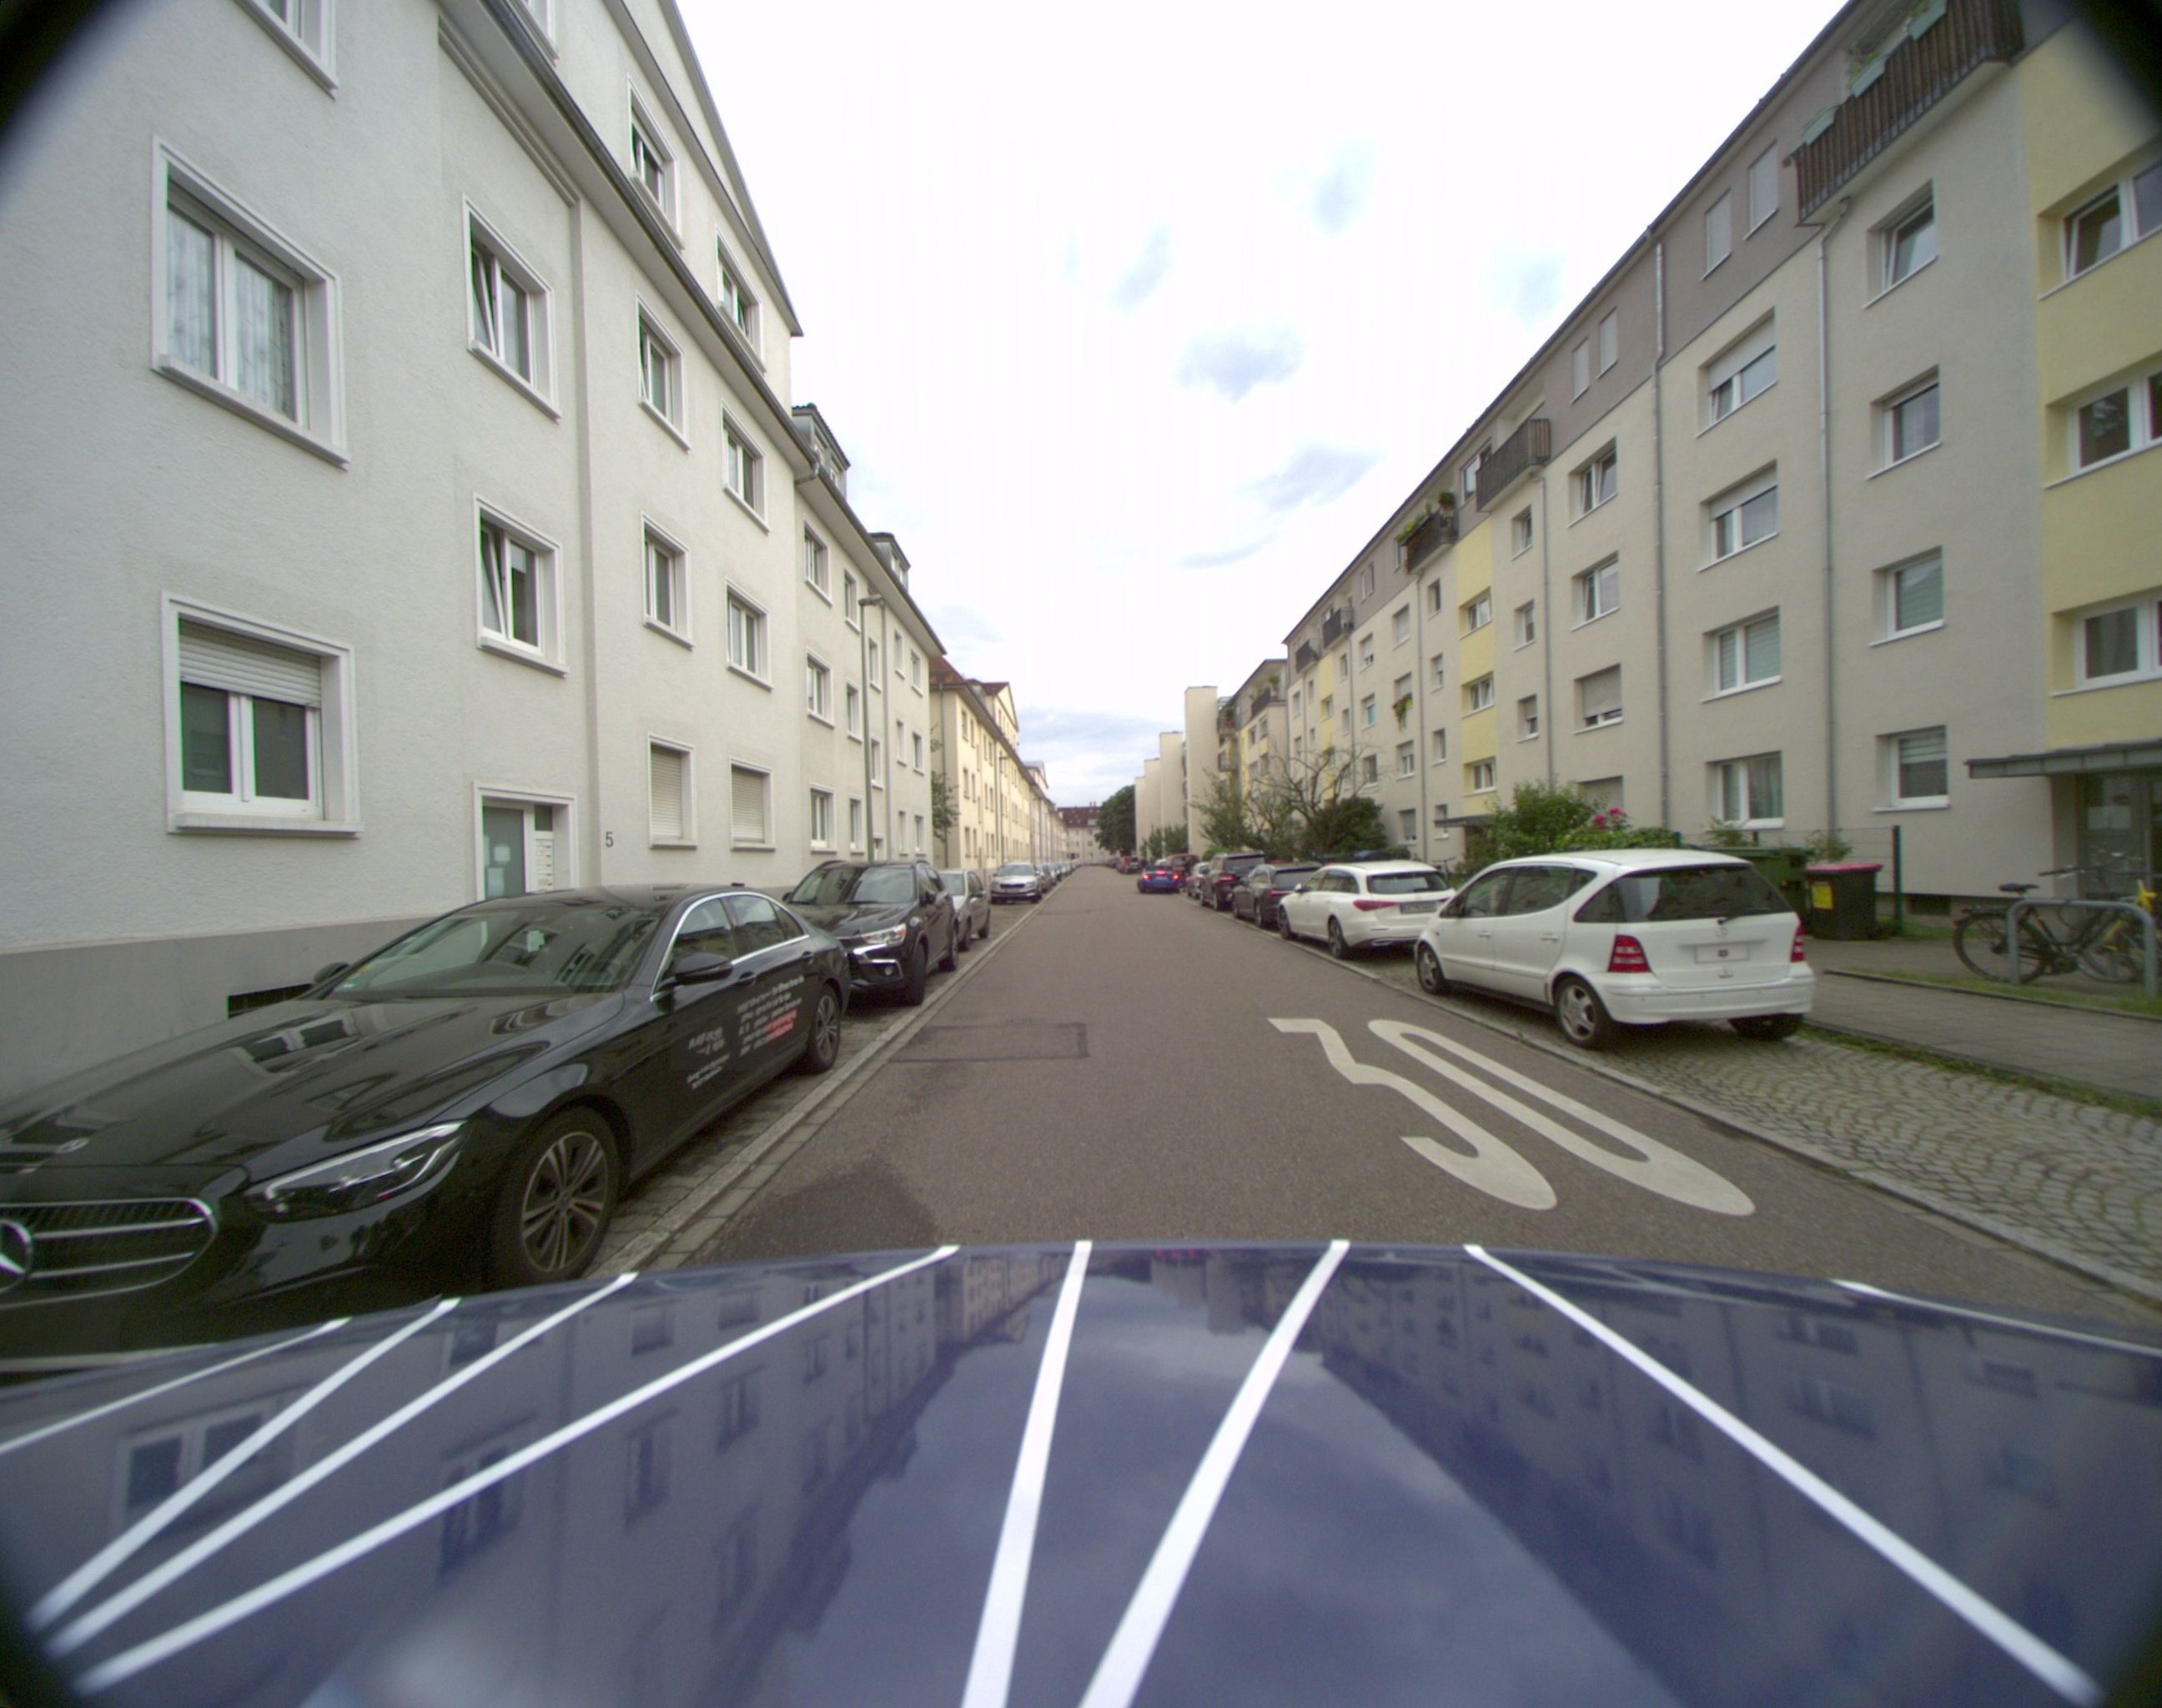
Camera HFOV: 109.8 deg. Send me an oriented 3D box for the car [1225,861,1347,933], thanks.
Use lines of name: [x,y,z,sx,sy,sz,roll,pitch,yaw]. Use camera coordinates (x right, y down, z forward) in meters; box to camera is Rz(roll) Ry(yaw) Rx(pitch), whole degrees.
car: [4.747,0.924,18.242,1.729,1.445,4.483,-1,0,1]

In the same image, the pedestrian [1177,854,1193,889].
pedestrian: [5.020,0.823,36.734,0.603,1.657,0.622,-2,0,-2]

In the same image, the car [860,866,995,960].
car: [-2.749,1.007,14.443,1.737,1.478,3.757,-1,0,1]

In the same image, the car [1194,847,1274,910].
car: [4.753,0.744,24.155,1.575,1.769,4.452,-2,-1,0]

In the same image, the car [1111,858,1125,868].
car: [6.133,1.472,127.150,1.745,1.534,3.637,-2,0,-5]

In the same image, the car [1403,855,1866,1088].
car: [4.771,0.856,7.321,1.689,1.629,3.727,-2,0,-1]

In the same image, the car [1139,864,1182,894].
car: [3.745,1.152,36.304,1.679,1.307,3.909,-2,-1,2]

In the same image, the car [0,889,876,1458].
car: [-2.647,1.032,4.370,1.786,1.454,4.322,-1,0,-1]

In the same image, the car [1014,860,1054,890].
car: [-2.357,1.043,39.136,1.737,1.418,4.218,-1,0,0]

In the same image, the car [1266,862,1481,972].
car: [4.703,0.925,13.059,1.723,1.501,4.687,-2,-1,-2]

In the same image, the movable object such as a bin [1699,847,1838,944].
movable object such as a bin: [10.572,0.605,11.743,1.059,1.366,1.189,-2,1,-4]

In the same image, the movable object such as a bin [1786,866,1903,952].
movable object such as a bin: [10.701,0.747,10.676,0.871,1.103,0.787,-2,2,-3]

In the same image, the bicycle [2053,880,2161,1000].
bicycle: [9.700,0.765,6.512,0.479,1.018,1.755,-2,0,0]

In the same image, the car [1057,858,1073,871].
car: [-1.795,1.226,87.056,1.737,1.443,4.217,-1,0,-1]

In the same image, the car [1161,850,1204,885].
car: [5.509,0.717,41.631,1.707,1.795,3.542,-2,-1,-2]

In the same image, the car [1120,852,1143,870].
car: [5.820,0.831,88.027,2.188,2.019,4.422,-2,-1,-2]

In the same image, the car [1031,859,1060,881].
car: [-2.294,1.042,50.455,1.737,1.402,4.217,-1,0,-1]

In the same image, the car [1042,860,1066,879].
car: [-2.052,1.182,58.088,1.737,1.363,4.217,-1,0,-1]

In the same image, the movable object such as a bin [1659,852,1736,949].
movable object such as a bin: [9.112,0.670,11.246,0.659,1.360,0.587,-2,2,-3]

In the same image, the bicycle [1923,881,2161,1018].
bicycle: [8.726,0.780,6.710,0.489,1.018,1.878,-2,0,1]

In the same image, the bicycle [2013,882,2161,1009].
bicycle: [9.204,0.784,6.601,0.357,1.018,1.497,-2,0,0]

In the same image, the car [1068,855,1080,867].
car: [-1.097,1.071,116.087,1.737,1.670,3.592,-1,0,-1]

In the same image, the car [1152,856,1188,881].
car: [5.553,0.898,47.820,1.707,1.436,3.542,-2,-1,-2]

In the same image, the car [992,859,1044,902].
car: [-2.443,0.997,30.221,1.737,1.538,3.677,-1,0,-1]

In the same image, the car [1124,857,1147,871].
car: [5.803,1.042,81.790,2.013,1.436,4.197,-2,-1,-2]

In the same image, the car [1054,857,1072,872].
car: [-1.765,1.010,77.267,1.737,1.443,4.217,-1,0,-1]

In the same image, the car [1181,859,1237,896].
car: [5.161,0.936,31.079,1.575,1.388,3.542,-2,-1,-2]

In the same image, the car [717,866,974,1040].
car: [-2.526,0.971,9.290,1.853,1.589,4.160,-1,0,-1]
